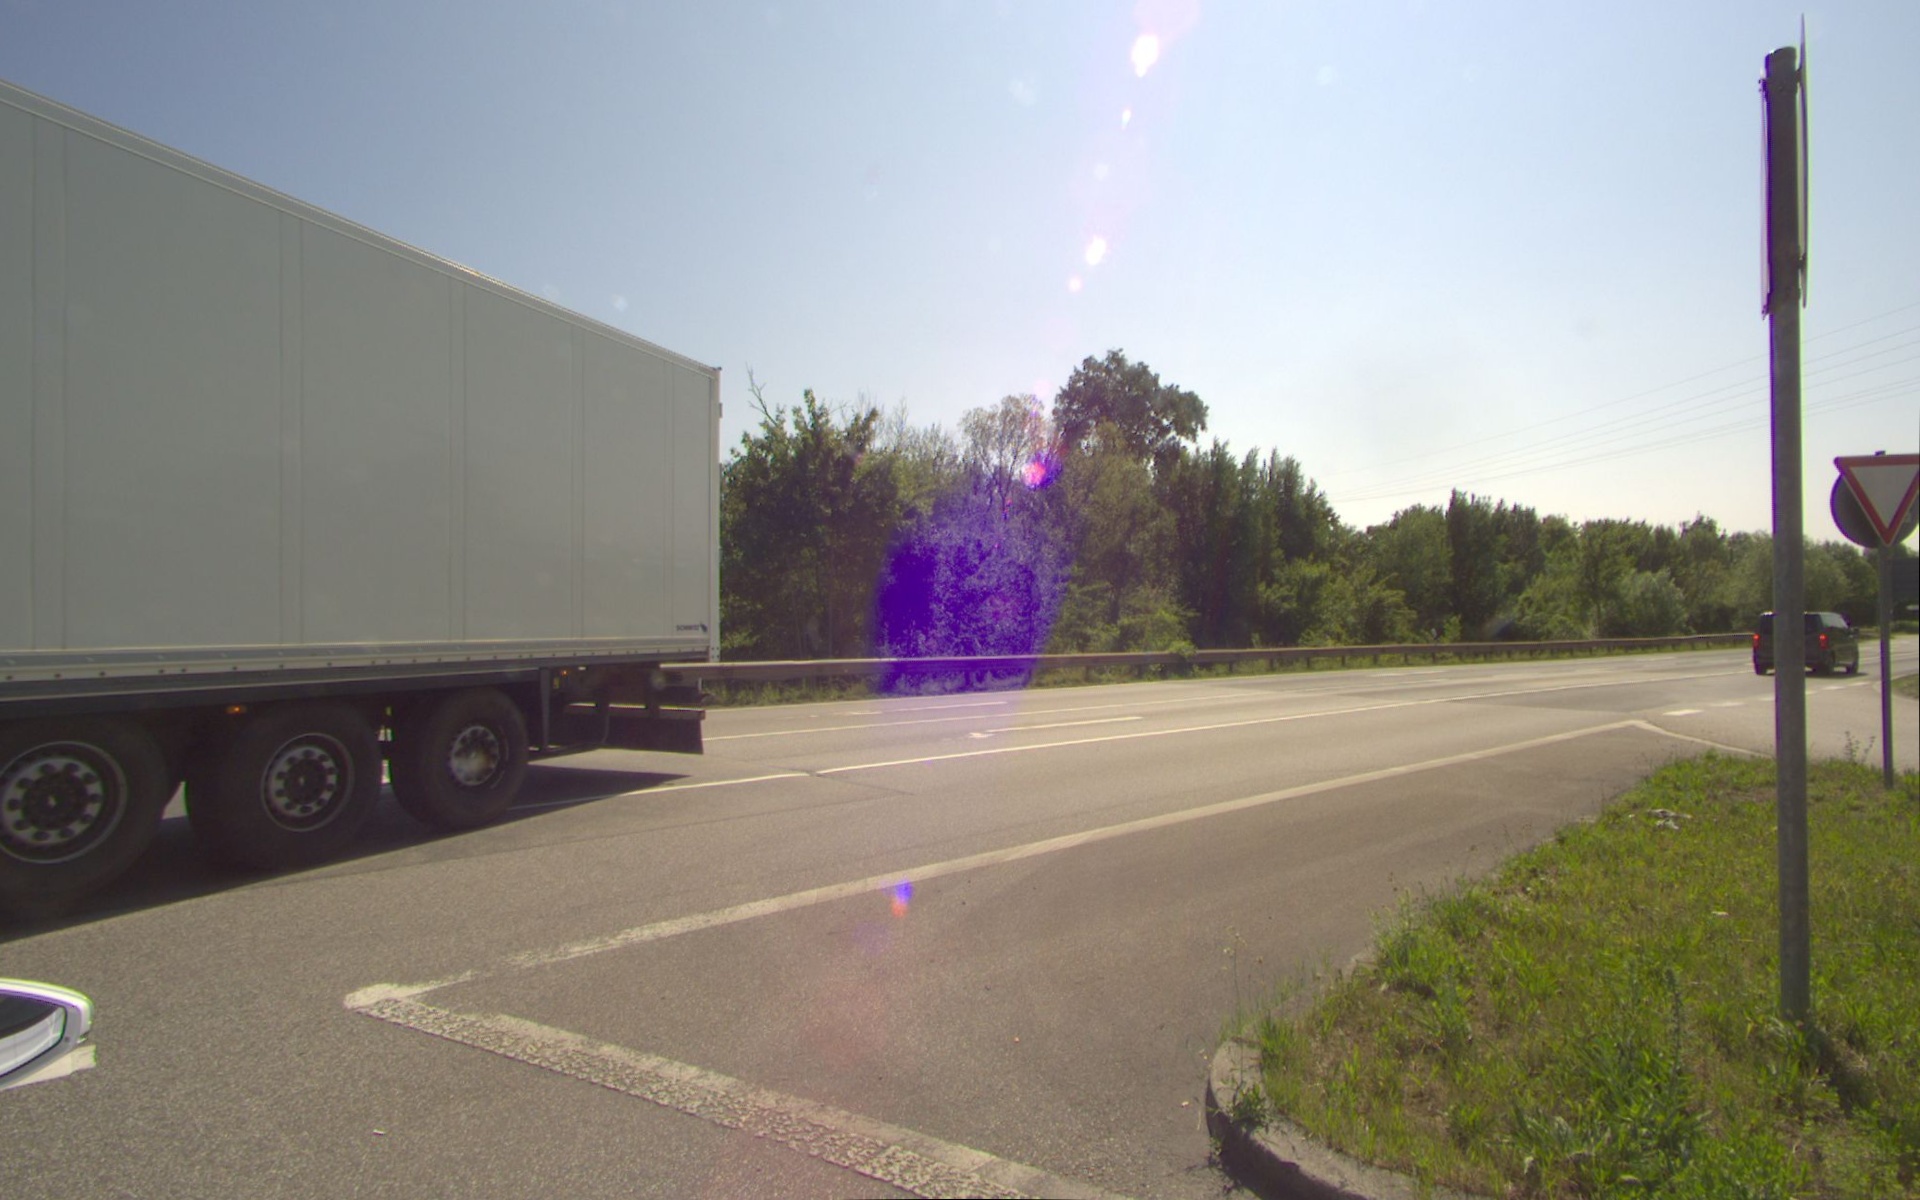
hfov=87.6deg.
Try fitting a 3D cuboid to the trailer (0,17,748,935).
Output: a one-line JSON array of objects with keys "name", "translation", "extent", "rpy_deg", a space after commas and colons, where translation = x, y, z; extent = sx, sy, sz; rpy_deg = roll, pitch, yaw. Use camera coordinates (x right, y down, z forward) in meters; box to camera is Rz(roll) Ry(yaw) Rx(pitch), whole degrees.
[{"name": "trailer", "translation": [-6.058, -0.582, 4.307], "extent": [2.847, 4.219, 13.950], "rpy_deg": [0, -1, 22]}]

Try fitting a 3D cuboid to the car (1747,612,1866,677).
[{"name": "car", "translation": [26.699, 1.381, 31.540], "extent": [4.937, 1.903, 1.984], "rpy_deg": [2, -2, -39]}]
